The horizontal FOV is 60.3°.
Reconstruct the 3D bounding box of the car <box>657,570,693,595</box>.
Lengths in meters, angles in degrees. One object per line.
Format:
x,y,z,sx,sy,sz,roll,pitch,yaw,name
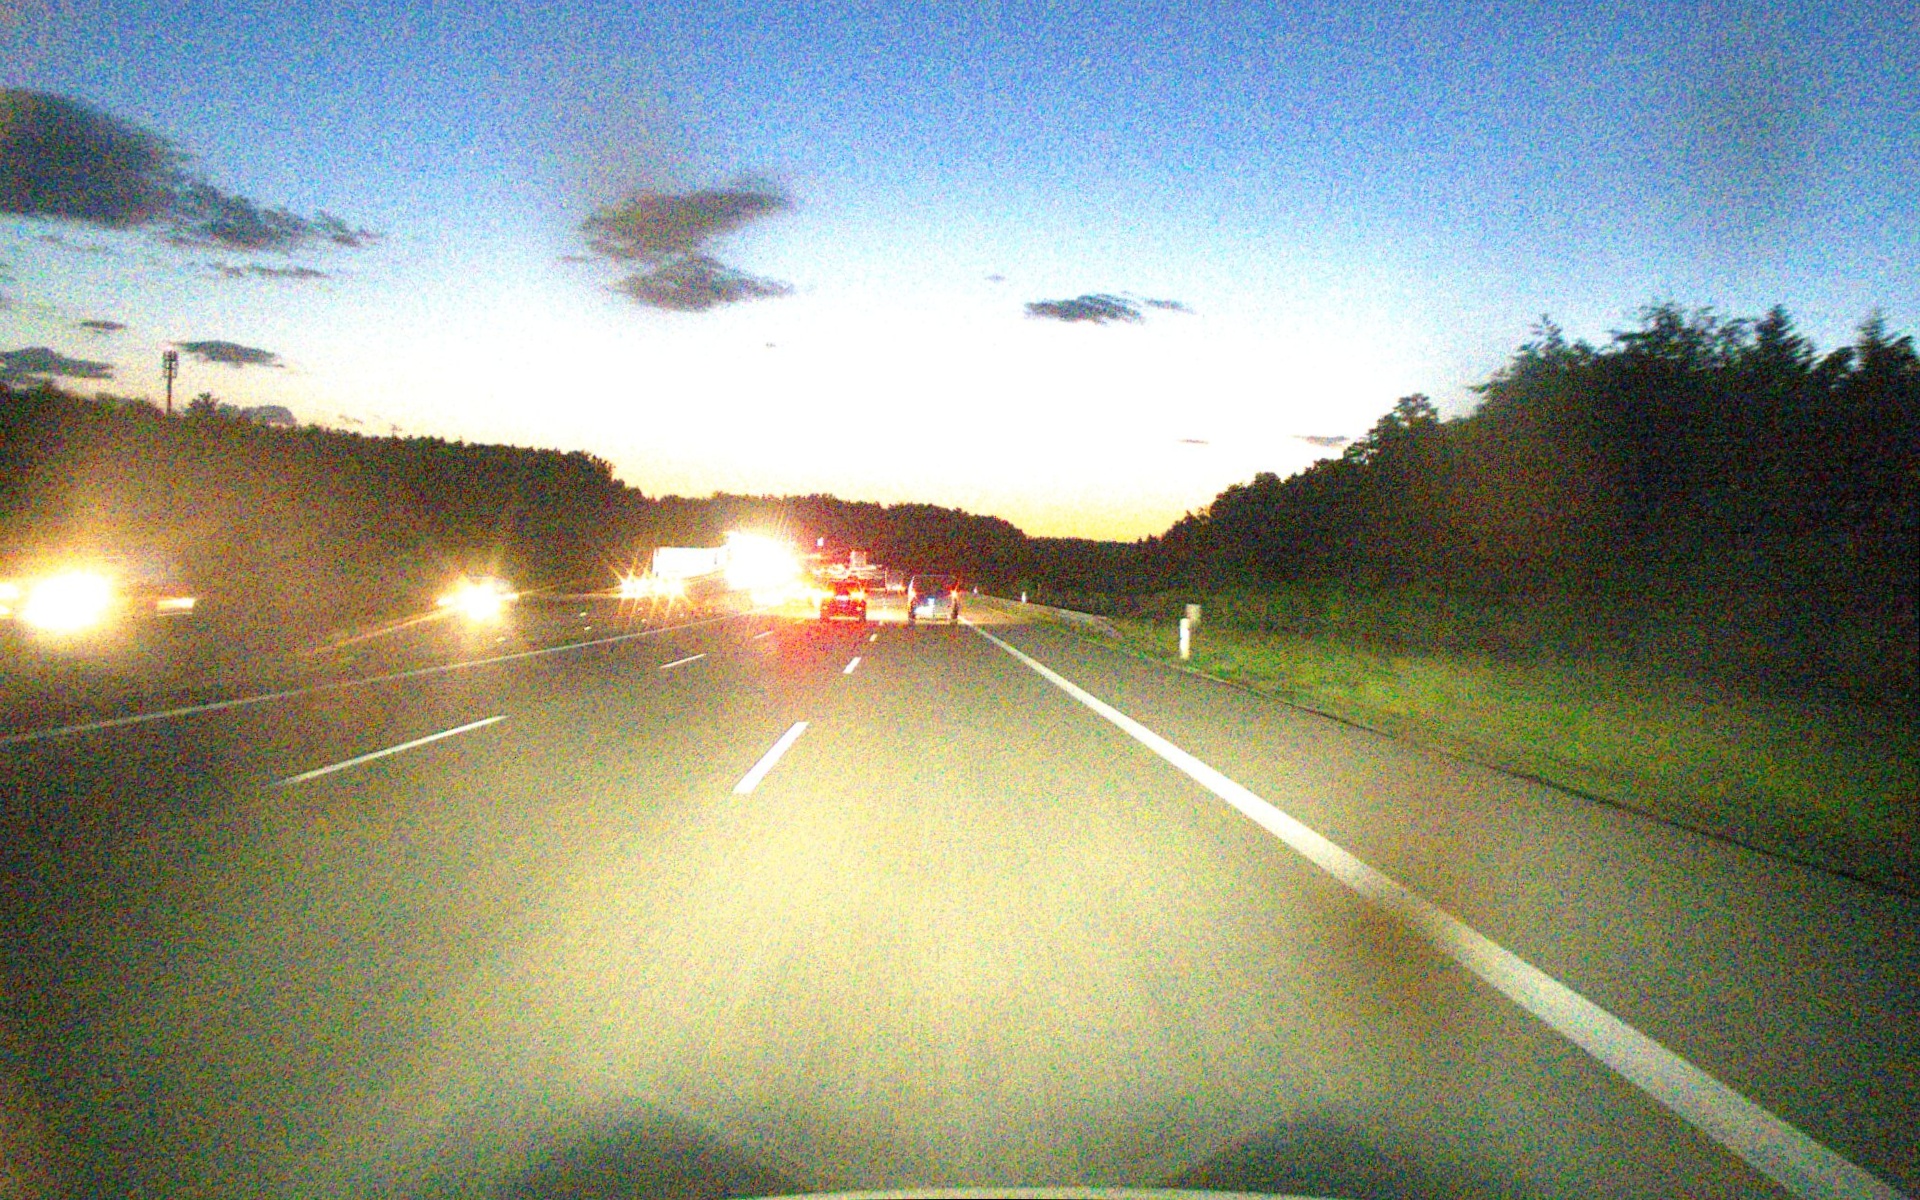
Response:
-22.314,-1.358,129.572,2.062,1.918,4.658,1,0,-1,car

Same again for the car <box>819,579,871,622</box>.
-4.857,0.031,70.567,1.953,1.751,5.940,0,0,-2,car

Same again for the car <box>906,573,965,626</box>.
-1.009,-0.047,65.610,2.153,1.989,4.761,0,1,-3,car

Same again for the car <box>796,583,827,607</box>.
-10.477,-0.367,116.837,1.743,1.512,5.253,-2,1,-1,car

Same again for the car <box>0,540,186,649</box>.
-17.218,-0.131,32.157,2.103,1.918,5.419,1,0,-4,car

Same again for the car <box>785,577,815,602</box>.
-9.904,-0.636,102.538,1.518,1.456,5.512,0,0,-2,car

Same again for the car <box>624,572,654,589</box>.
-27.392,-1.649,141.135,1.738,1.454,4.658,1,0,-1,car

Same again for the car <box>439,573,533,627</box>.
-16.295,-0.011,57.110,1.953,1.764,4.658,1,0,-1,car
